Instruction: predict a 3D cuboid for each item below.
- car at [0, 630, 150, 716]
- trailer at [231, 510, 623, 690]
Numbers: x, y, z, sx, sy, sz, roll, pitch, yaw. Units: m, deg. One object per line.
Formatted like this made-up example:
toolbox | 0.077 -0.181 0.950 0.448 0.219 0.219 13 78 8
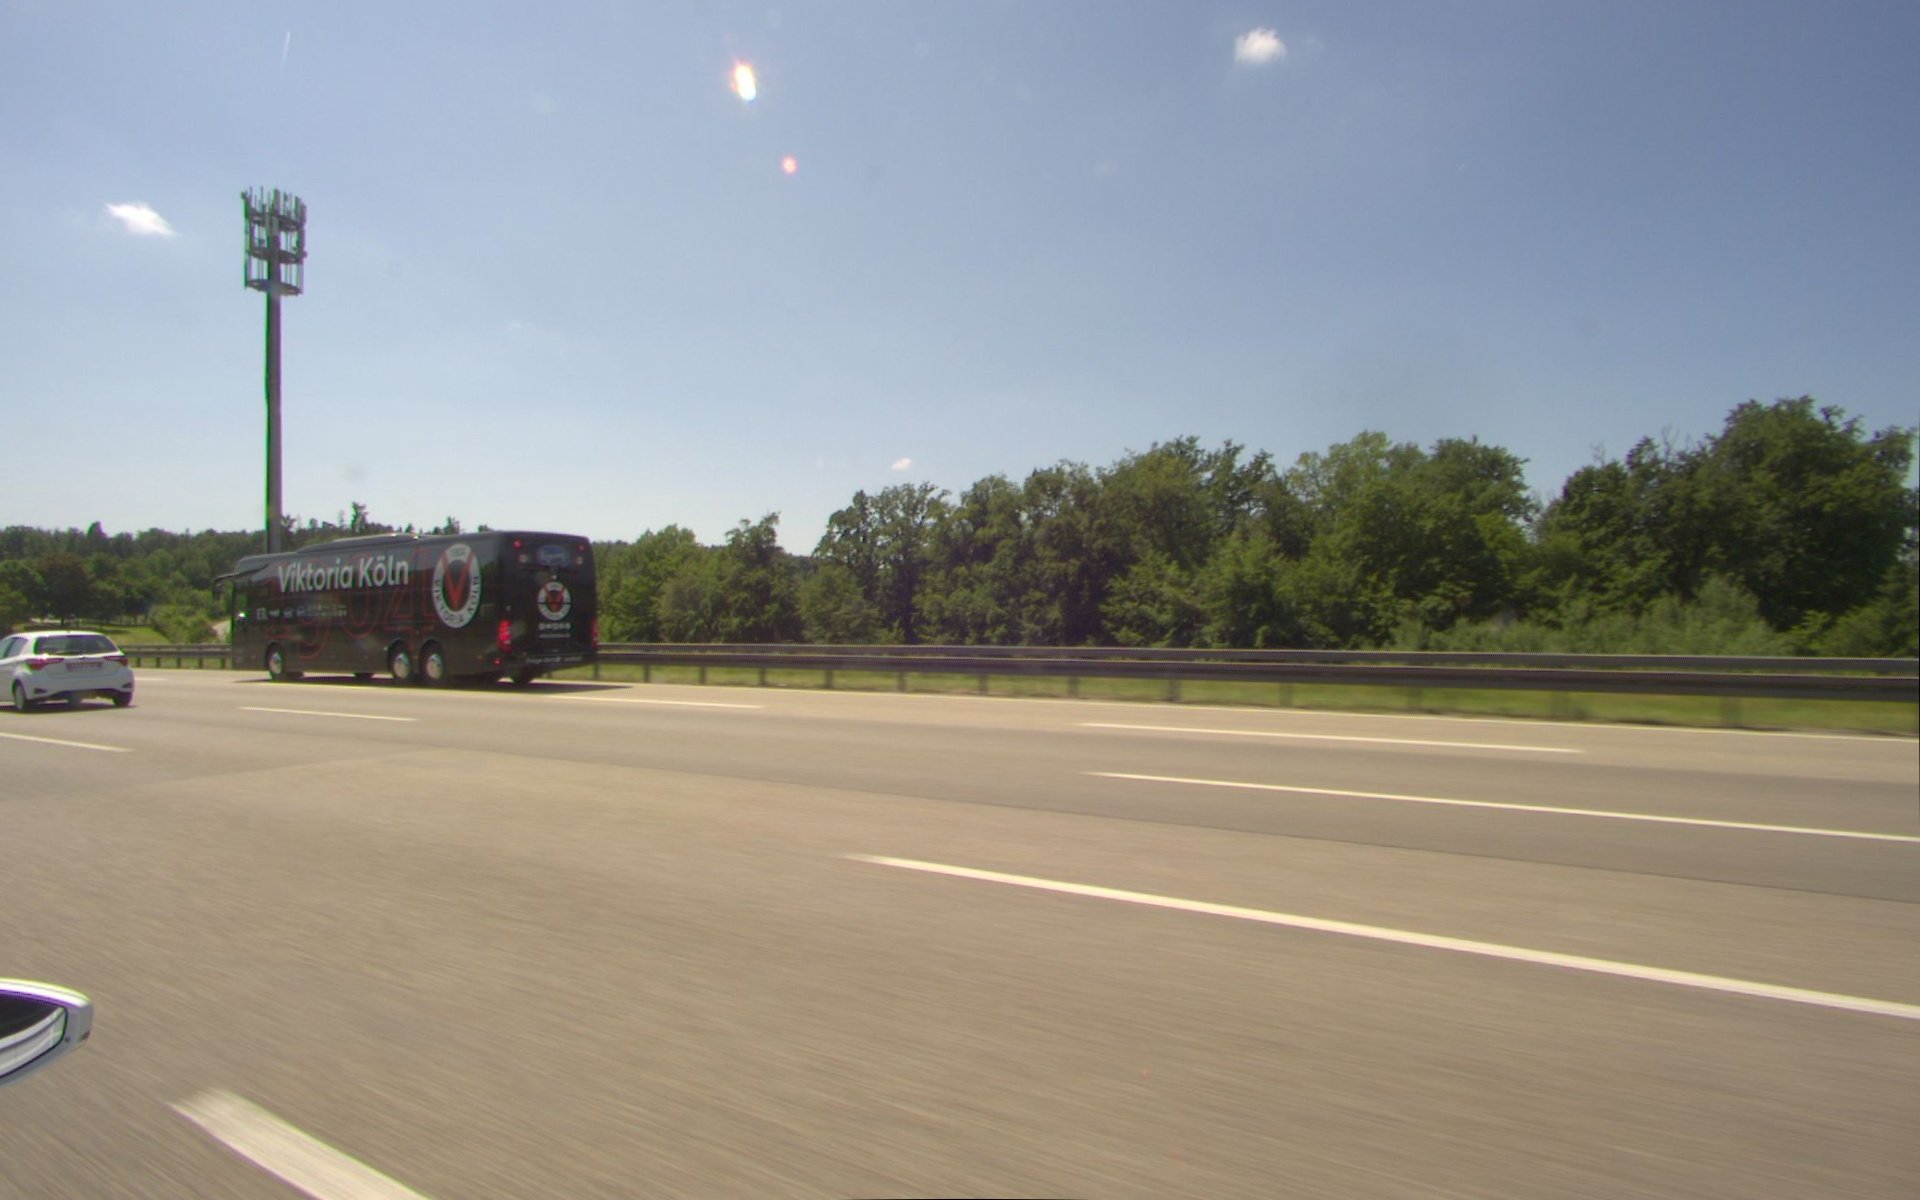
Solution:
car | -18.060 1.387 19.942 4.313 1.453 1.662 -1 2 32
trailer | -14.186 0.191 25.744 13.355 3.735 2.851 -2 -1 33
